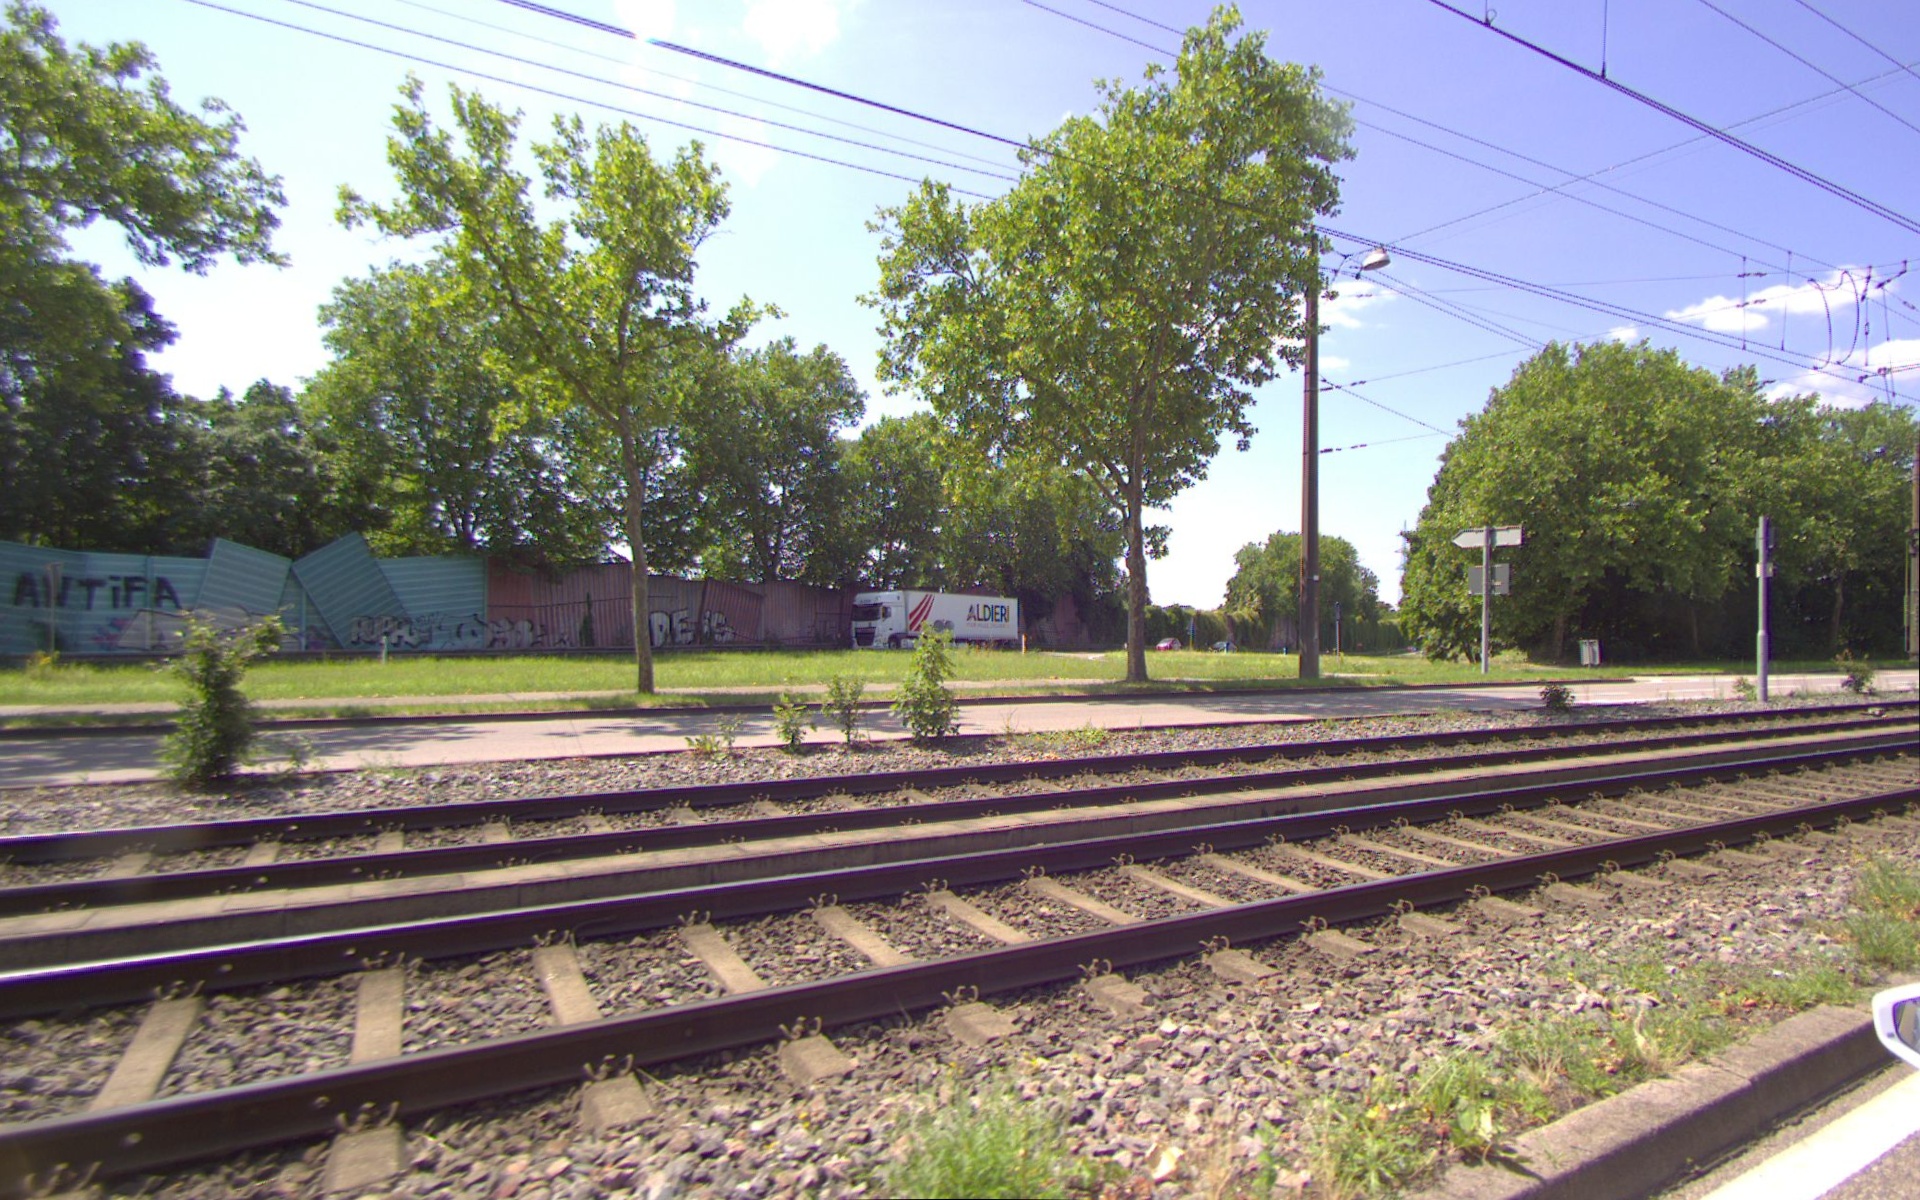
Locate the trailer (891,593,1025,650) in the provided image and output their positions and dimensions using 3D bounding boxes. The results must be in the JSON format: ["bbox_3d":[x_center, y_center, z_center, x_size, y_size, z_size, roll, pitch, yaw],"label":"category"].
[{"bbox_3d":[0.149,1.568,71.726,3.332,3.703,12.072,0,-2,34],"label":"trailer"}]

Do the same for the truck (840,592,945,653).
[{"bbox_3d":[-4.276,1.449,65.214,3.361,3.751,6.740,0,-1,34],"label":"truck"}]

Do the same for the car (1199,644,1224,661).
[{"bbox_3d":[27.902,5.836,111.464,1.539,1.815,3.389,0,-2,35],"label":"car"}]

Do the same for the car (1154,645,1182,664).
[{"bbox_3d":[20.762,5.424,100.366,1.539,1.815,3.389,0,-2,35],"label":"car"}]
